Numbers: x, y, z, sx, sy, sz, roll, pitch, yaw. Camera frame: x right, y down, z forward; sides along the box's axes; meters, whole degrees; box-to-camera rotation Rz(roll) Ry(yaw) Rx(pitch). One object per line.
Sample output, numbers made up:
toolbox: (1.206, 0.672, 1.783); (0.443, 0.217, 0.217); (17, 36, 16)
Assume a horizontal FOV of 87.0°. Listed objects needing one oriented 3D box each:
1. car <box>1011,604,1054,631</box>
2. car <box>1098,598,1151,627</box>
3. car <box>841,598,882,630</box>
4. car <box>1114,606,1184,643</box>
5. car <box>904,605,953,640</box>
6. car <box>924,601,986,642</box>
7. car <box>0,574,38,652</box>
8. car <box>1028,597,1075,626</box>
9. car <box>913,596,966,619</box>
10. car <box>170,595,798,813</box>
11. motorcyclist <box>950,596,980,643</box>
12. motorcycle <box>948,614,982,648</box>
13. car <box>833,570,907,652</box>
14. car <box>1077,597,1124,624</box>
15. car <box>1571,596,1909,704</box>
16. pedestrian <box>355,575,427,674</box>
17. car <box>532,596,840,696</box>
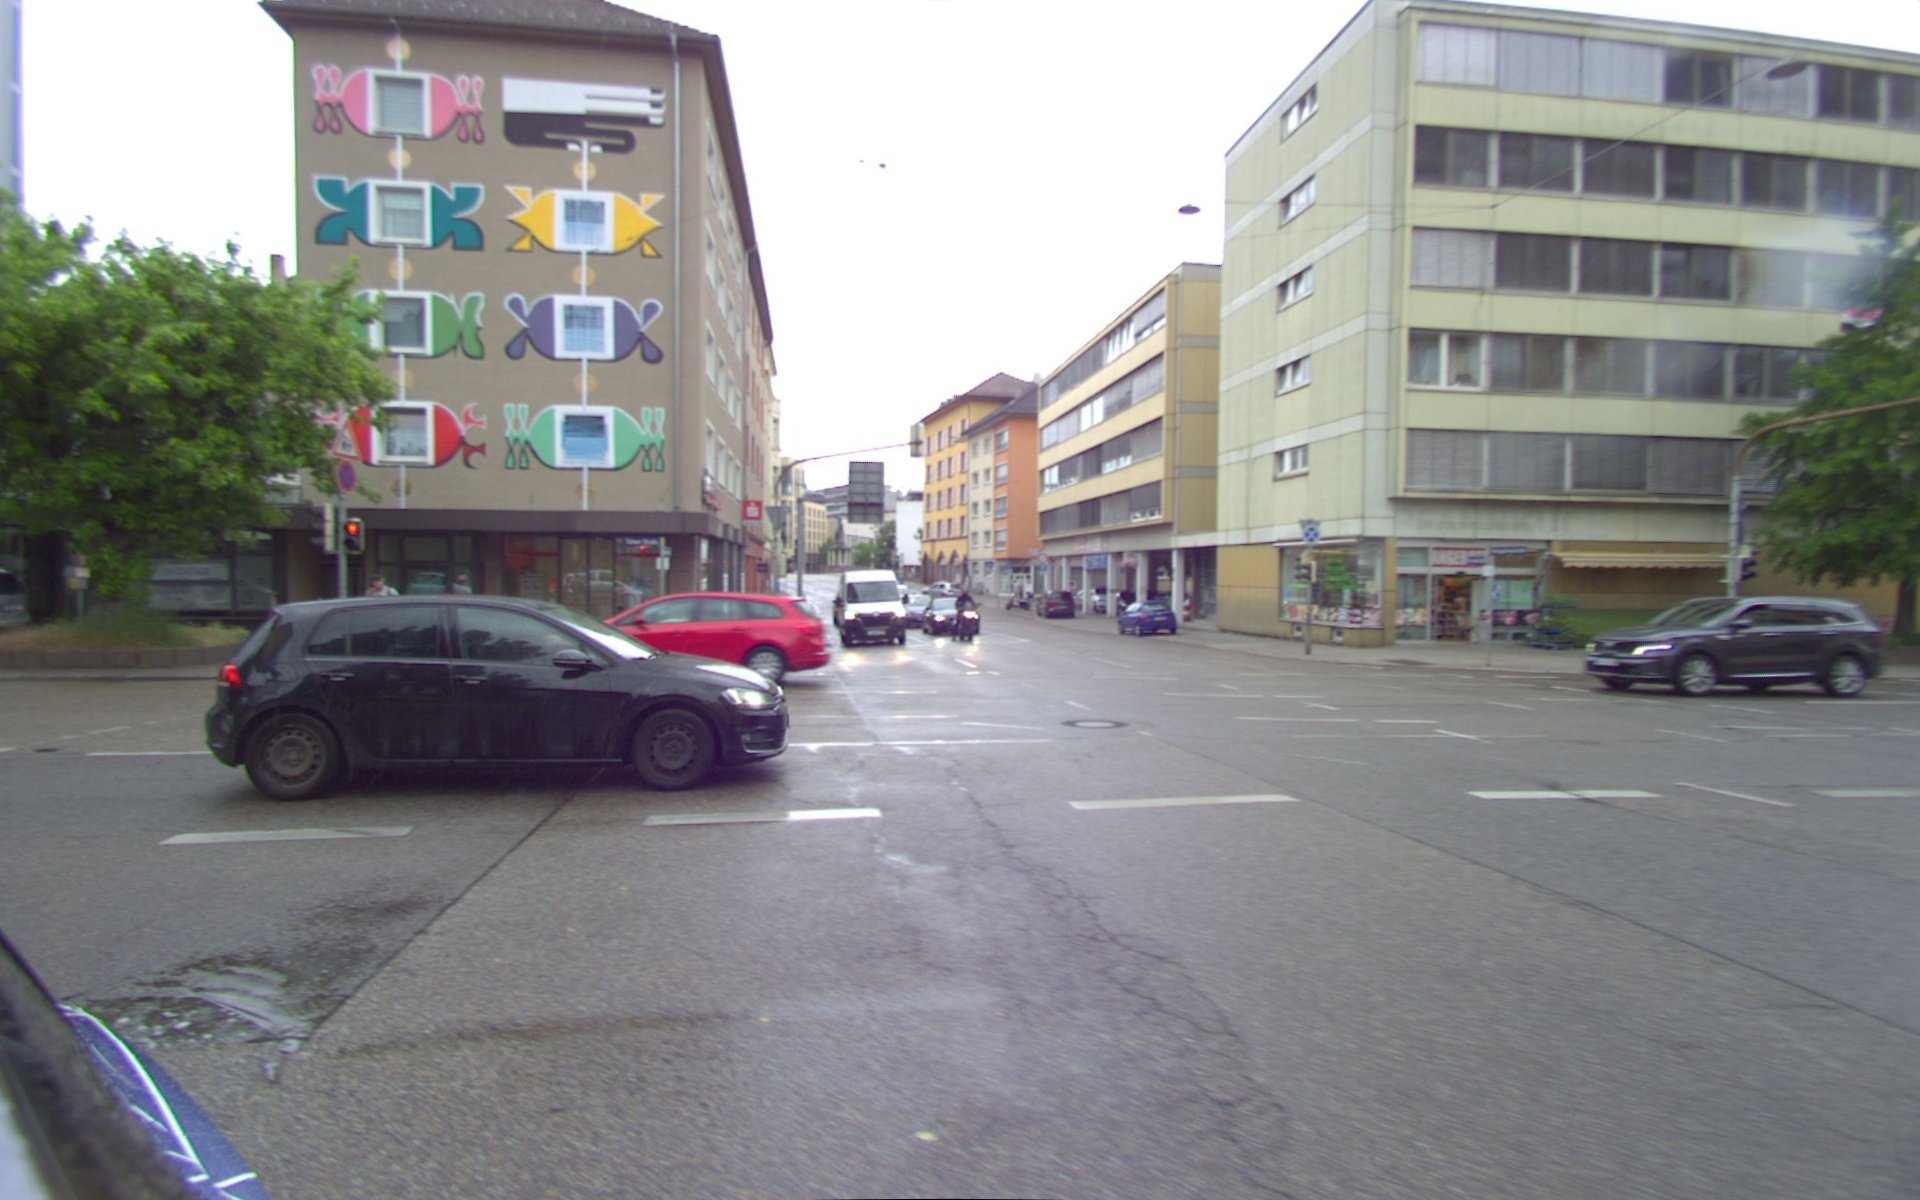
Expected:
car: (4.605, 1.112, 65.031); (1.821, 1.579, 4.376); (-2, -1, -8)
car: (9.745, 0.754, 60.337); (1.821, 1.579, 4.377); (-2, -1, -8)
car: (-4.863, 0.697, 49.839); (1.821, 1.430, 3.575); (-2, -1, -8)
car: (7.918, 1.013, 42.729); (1.821, 1.430, 3.575); (-2, -1, -8)
car: (-1.459, 1.008, 45.418); (1.821, 1.430, 3.575); (-2, -1, -8)
car: (-0.242, 0.798, 38.379); (1.821, 1.430, 3.575); (-2, -1, -8)
car: (-23.098, 0.213, 22.123); (4.119, 1.678, 1.654); (2, 1, -8)
car: (5.390, 0.677, 60.139); (1.821, 1.579, 4.376); (-2, -1, -8)
car: (-1.705, 0.557, 82.968); (1.823, 1.721, 4.373); (0, 2, -44)
car: (-3.342, 0.687, 7.844); (4.101, 1.435, 1.691); (0, 0, -8)
motorcyclist: (0.158, 0.632, 33.056); (0.865, 1.490, 0.798); (1, -1, -8)
motorcycle: (0.147, 1.000, 33.106); (0.865, 1.108, 1.803); (1, -1, -8)
car: (-3.158, 0.383, 34.522); (2.198, 2.543, 5.480); (-2, -1, -8)
car: (9.040, 0.682, 65.364); (1.821, 1.579, 4.377); (-2, -1, -8)
car: (13.482, 0.856, 17.663); (4.500, 1.715, 1.994); (1, -1, -5)
pedestrian: (-10.554, 0.457, 18.800); (0.889, 1.787, 0.819); (1, -1, -9)
car: (-4.216, 0.720, 16.152); (4.512, 1.434, 1.710); (1, -1, -5)
